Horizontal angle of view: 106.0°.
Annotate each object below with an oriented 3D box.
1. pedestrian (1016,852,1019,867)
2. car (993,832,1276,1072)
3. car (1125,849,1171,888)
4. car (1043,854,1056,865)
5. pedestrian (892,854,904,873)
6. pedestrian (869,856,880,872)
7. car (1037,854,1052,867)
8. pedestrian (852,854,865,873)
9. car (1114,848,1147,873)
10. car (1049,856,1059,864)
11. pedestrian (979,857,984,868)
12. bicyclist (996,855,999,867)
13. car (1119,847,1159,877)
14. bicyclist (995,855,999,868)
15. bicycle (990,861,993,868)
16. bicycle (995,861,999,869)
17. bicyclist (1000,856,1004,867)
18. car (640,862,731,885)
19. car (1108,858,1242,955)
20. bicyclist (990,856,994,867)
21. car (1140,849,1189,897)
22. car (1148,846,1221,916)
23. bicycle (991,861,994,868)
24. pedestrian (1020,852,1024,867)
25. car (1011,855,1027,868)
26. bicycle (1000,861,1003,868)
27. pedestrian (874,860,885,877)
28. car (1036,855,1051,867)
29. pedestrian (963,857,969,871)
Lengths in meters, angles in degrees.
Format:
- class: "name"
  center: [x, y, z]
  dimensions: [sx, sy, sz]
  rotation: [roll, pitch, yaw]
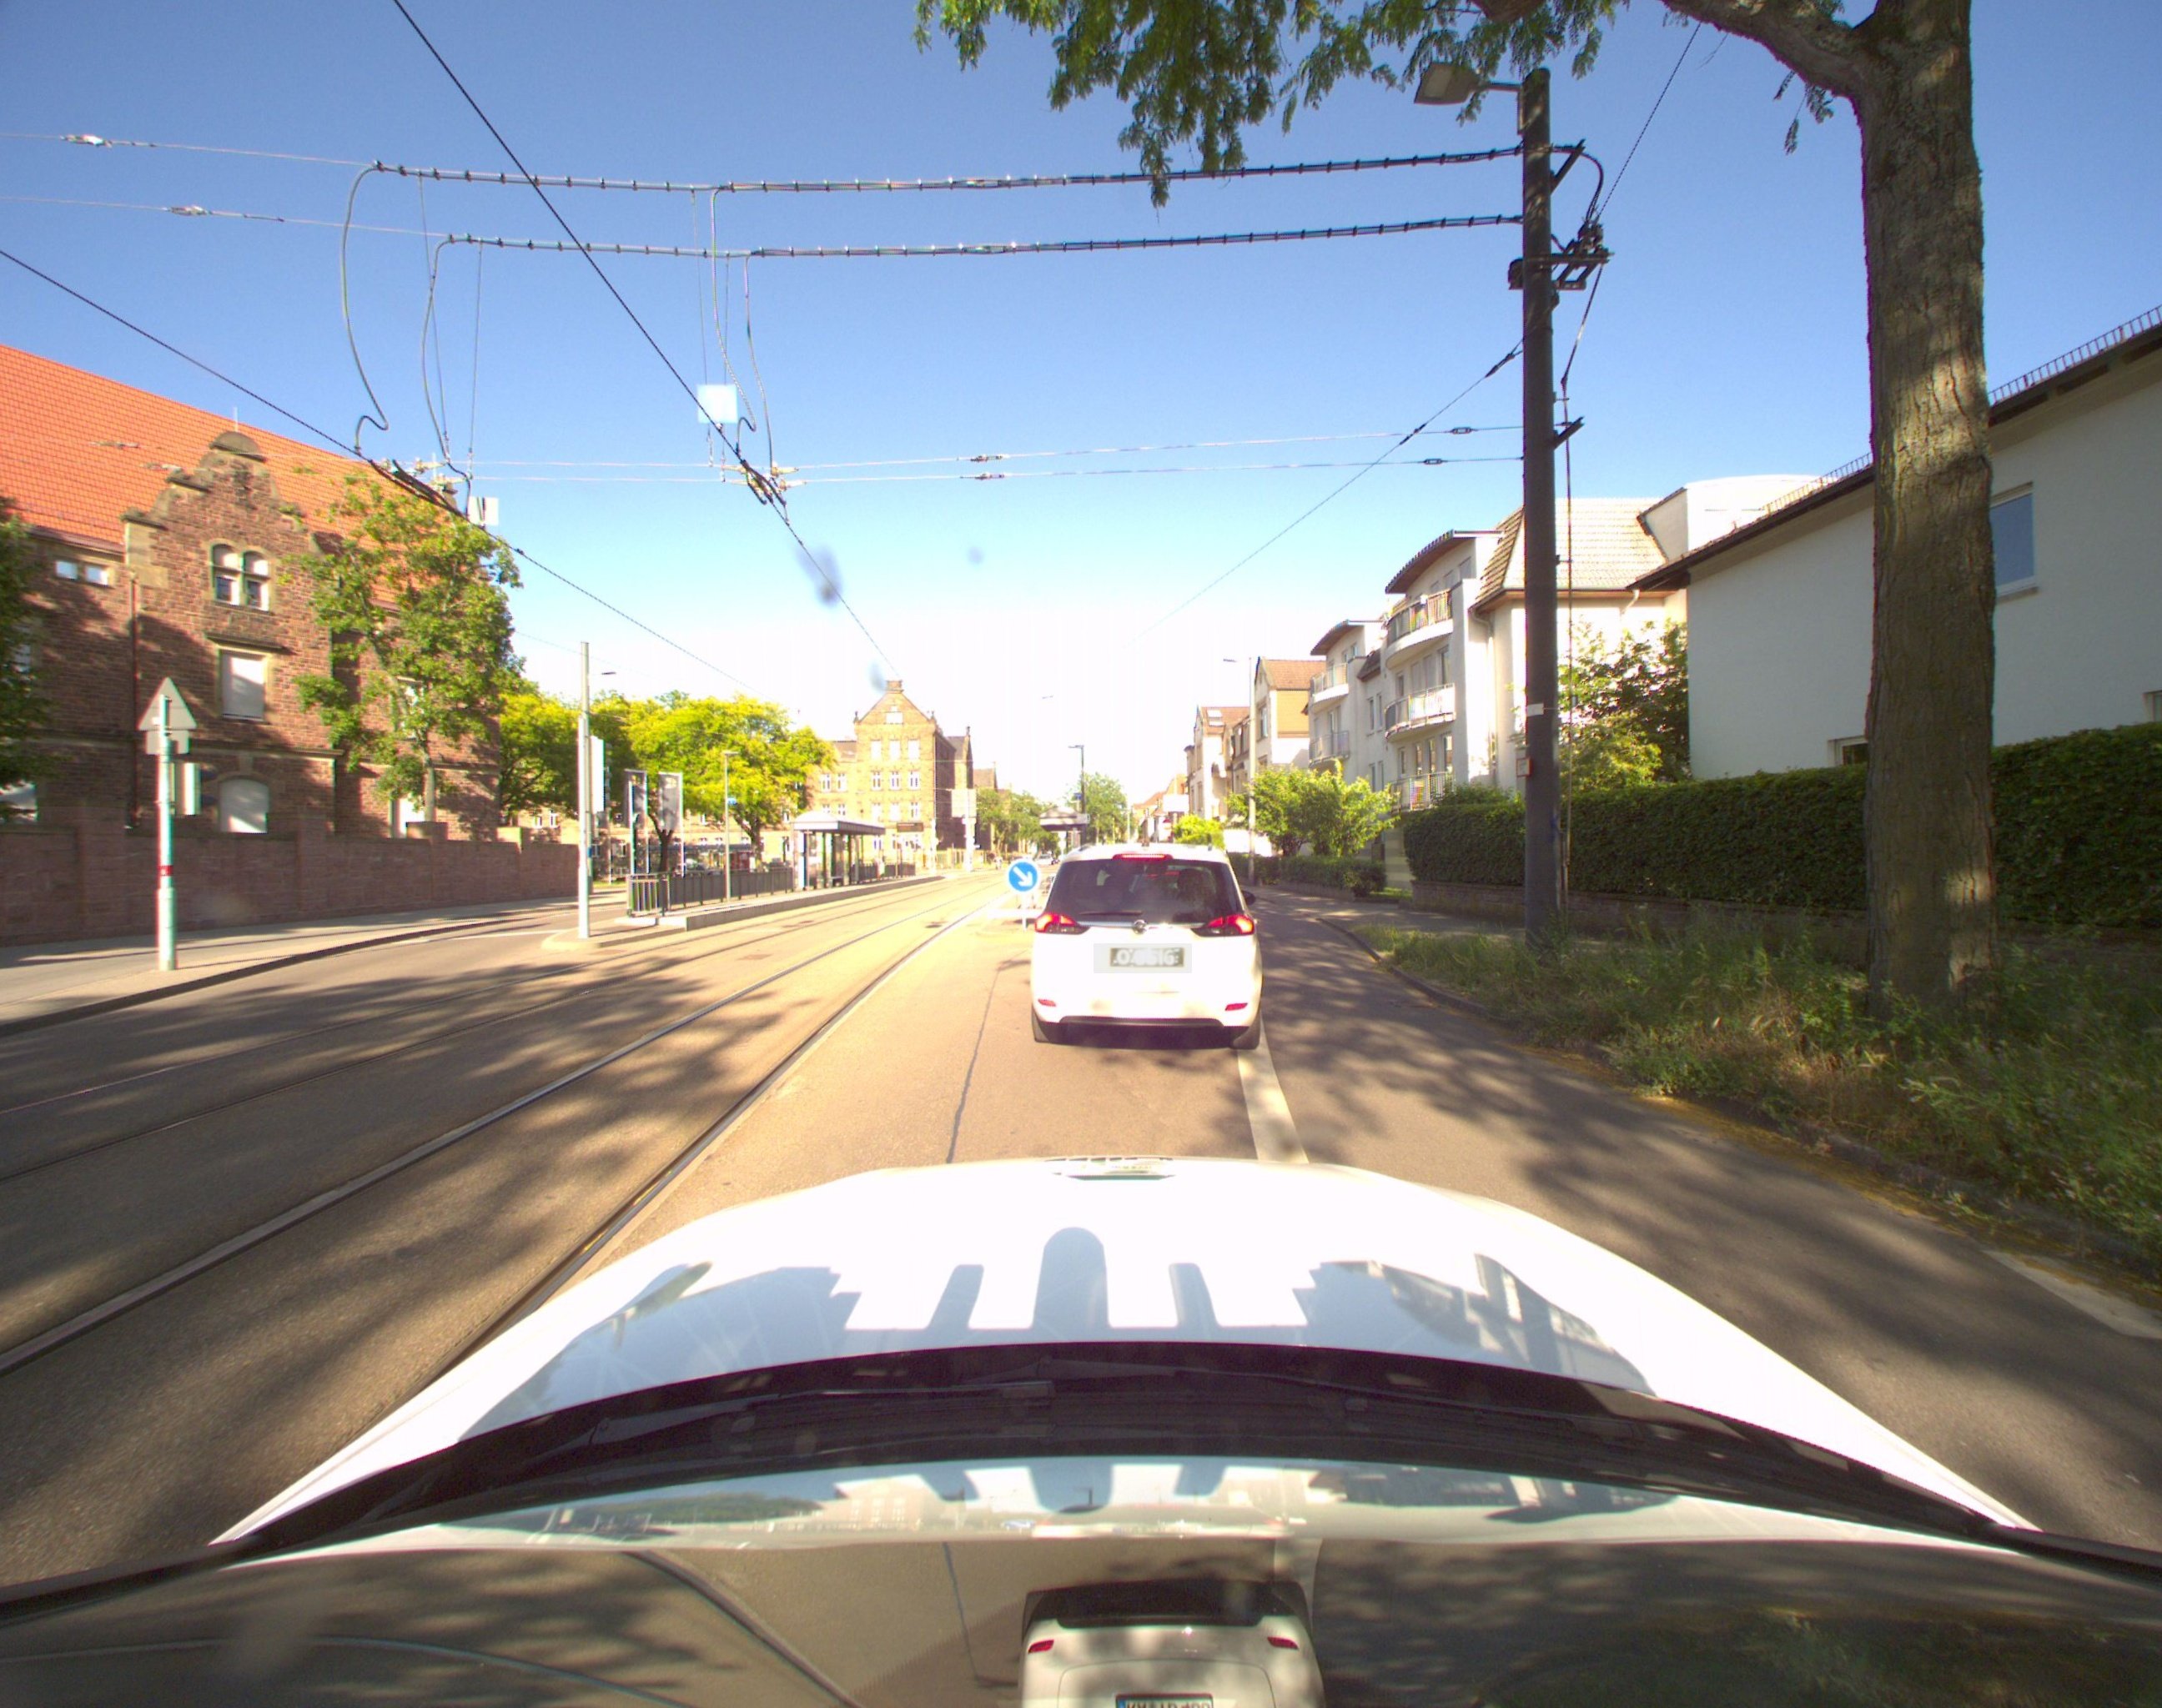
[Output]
- class: "pedestrian"
  center: [-8.757, 0.773, 112.375]
  dimensions: [0.443, 2.013, 0.495]
  rotation: [-1, 0, -2]
- class: "car"
  center: [0.646, 0.684, 7.700]
  dimensions: [1.982, 1.644, 4.003]
  rotation: [0, 0, 8]
- class: "car"
  center: [2.935, 0.609, 36.246]
  dimensions: [1.824, 1.579, 4.012]
  rotation: [-1, 0, 2]
- class: "car"
  center: [-5.106, 0.908, 133.721]
  dimensions: [1.987, 1.629, 4.000]
  rotation: [-1, 0, 0]
- class: "pedestrian"
  center: [-17.143, 0.881, 76.202]
  dimensions: [0.892, 1.684, 1.029]
  rotation: [0, -1, 1]
- class: "pedestrian"
  center: [-20.469, 0.988, 80.646]
  dimensions: [0.799, 1.588, 0.934]
  rotation: [0, -1, 0]
- class: "car"
  center: [-4.804, 0.890, 107.619]
  dimensions: [1.989, 1.629, 3.996]
  rotation: [-1, 0, -3]
- class: "pedestrian"
  center: [-19.961, 0.884, 73.137]
  dimensions: [0.839, 1.691, 1.029]
  rotation: [0, -1, 1]
- class: "car"
  center: [3.108, 0.383, 51.840]
  dimensions: [1.986, 1.503, 4.002]
  rotation: [-1, 0, 2]
- class: "car"
  center: [-5.431, 1.179, 163.759]
  dimensions: [1.989, 1.629, 3.984]
  rotation: [-1, 0, -3]
- class: "pedestrian"
  center: [-15.407, 1.302, 126.567]
  dimensions: [0.733, 1.714, 0.753]
  rotation: [0, -1, -4]
- class: "bicyclist"
  center: [-10.968, 0.976, 107.022]
  dimensions: [0.443, 1.553, 0.495]
  rotation: [-1, 0, -2]
- class: "car"
  center: [3.132, 0.412, 44.372]
  dimensions: [1.986, 1.503, 4.002]
  rotation: [-1, 0, 2]
- class: "bicyclist"
  center: [-10.696, 0.947, 103.732]
  dimensions: [0.443, 1.553, 0.742]
  rotation: [-1, 0, -2]
- class: "bicycle"
  center: [-12.666, 1.525, 115.634]
  dimensions: [0.343, 0.950, 0.996]
  rotation: [0, -1, -1]
- class: "bicycle"
  center: [-10.704, 1.413, 103.521]
  dimensions: [0.343, 0.950, 1.160]
  rotation: [0, -1, -1]
- class: "bicyclist"
  center: [-10.651, 0.995, 109.601]
  dimensions: [0.443, 1.553, 0.495]
  rotation: [-1, 0, -2]
- class: "car"
  center: [-36.643, 1.792, 75.689]
  dimensions: [6.926, 1.921, 2.992]
  rotation: [-1, 0, 0]
- class: "car"
  center: [1.534, 0.790, 14.062]
  dimensions: [1.944, 1.397, 4.005]
  rotation: [-1, 0, 4]
- class: "bicyclist"
  center: [-12.673, 1.057, 115.600]
  dimensions: [0.443, 1.553, 0.495]
  rotation: [-1, 0, -2]
- class: "car"
  center: [2.948, 0.634, 29.316]
  dimensions: [1.630, 1.601, 3.859]
  rotation: [-1, 0, 4]
- class: "car"
  center: [2.577, 0.637, 20.890]
  dimensions: [1.630, 1.601, 3.859]
  rotation: [-1, 0, 4]
- class: "bicycle"
  center: [-12.409, 1.508, 113.797]
  dimensions: [0.343, 0.950, 0.996]
  rotation: [0, -1, -1]
- class: "pedestrian"
  center: [-8.149, 0.770, 112.645]
  dimensions: [0.443, 2.013, 0.495]
  rotation: [-1, 0, -2]
- class: "car"
  center: [-8.181, 0.922, 107.478]
  dimensions: [1.989, 1.629, 3.996]
  rotation: [-1, 0, -3]
- class: "bicycle"
  center: [-10.650, 1.461, 109.606]
  dimensions: [0.343, 0.950, 0.996]
  rotation: [0, -1, -1]
- class: "pedestrian"
  center: [-19.126, 1.351, 77.423]
  dimensions: [0.799, 1.588, 0.934]
  rotation: [0, -1, 0]
- class: "car"
  center: [-5.285, 0.951, 114.742]
  dimensions: [1.989, 1.629, 3.996]
  rotation: [-1, 0, -3]
- class: "pedestrian"
  center: [-14.823, 1.261, 104.849]
  dimensions: [0.734, 1.714, 0.704]
  rotation: [0, -1, -7]
